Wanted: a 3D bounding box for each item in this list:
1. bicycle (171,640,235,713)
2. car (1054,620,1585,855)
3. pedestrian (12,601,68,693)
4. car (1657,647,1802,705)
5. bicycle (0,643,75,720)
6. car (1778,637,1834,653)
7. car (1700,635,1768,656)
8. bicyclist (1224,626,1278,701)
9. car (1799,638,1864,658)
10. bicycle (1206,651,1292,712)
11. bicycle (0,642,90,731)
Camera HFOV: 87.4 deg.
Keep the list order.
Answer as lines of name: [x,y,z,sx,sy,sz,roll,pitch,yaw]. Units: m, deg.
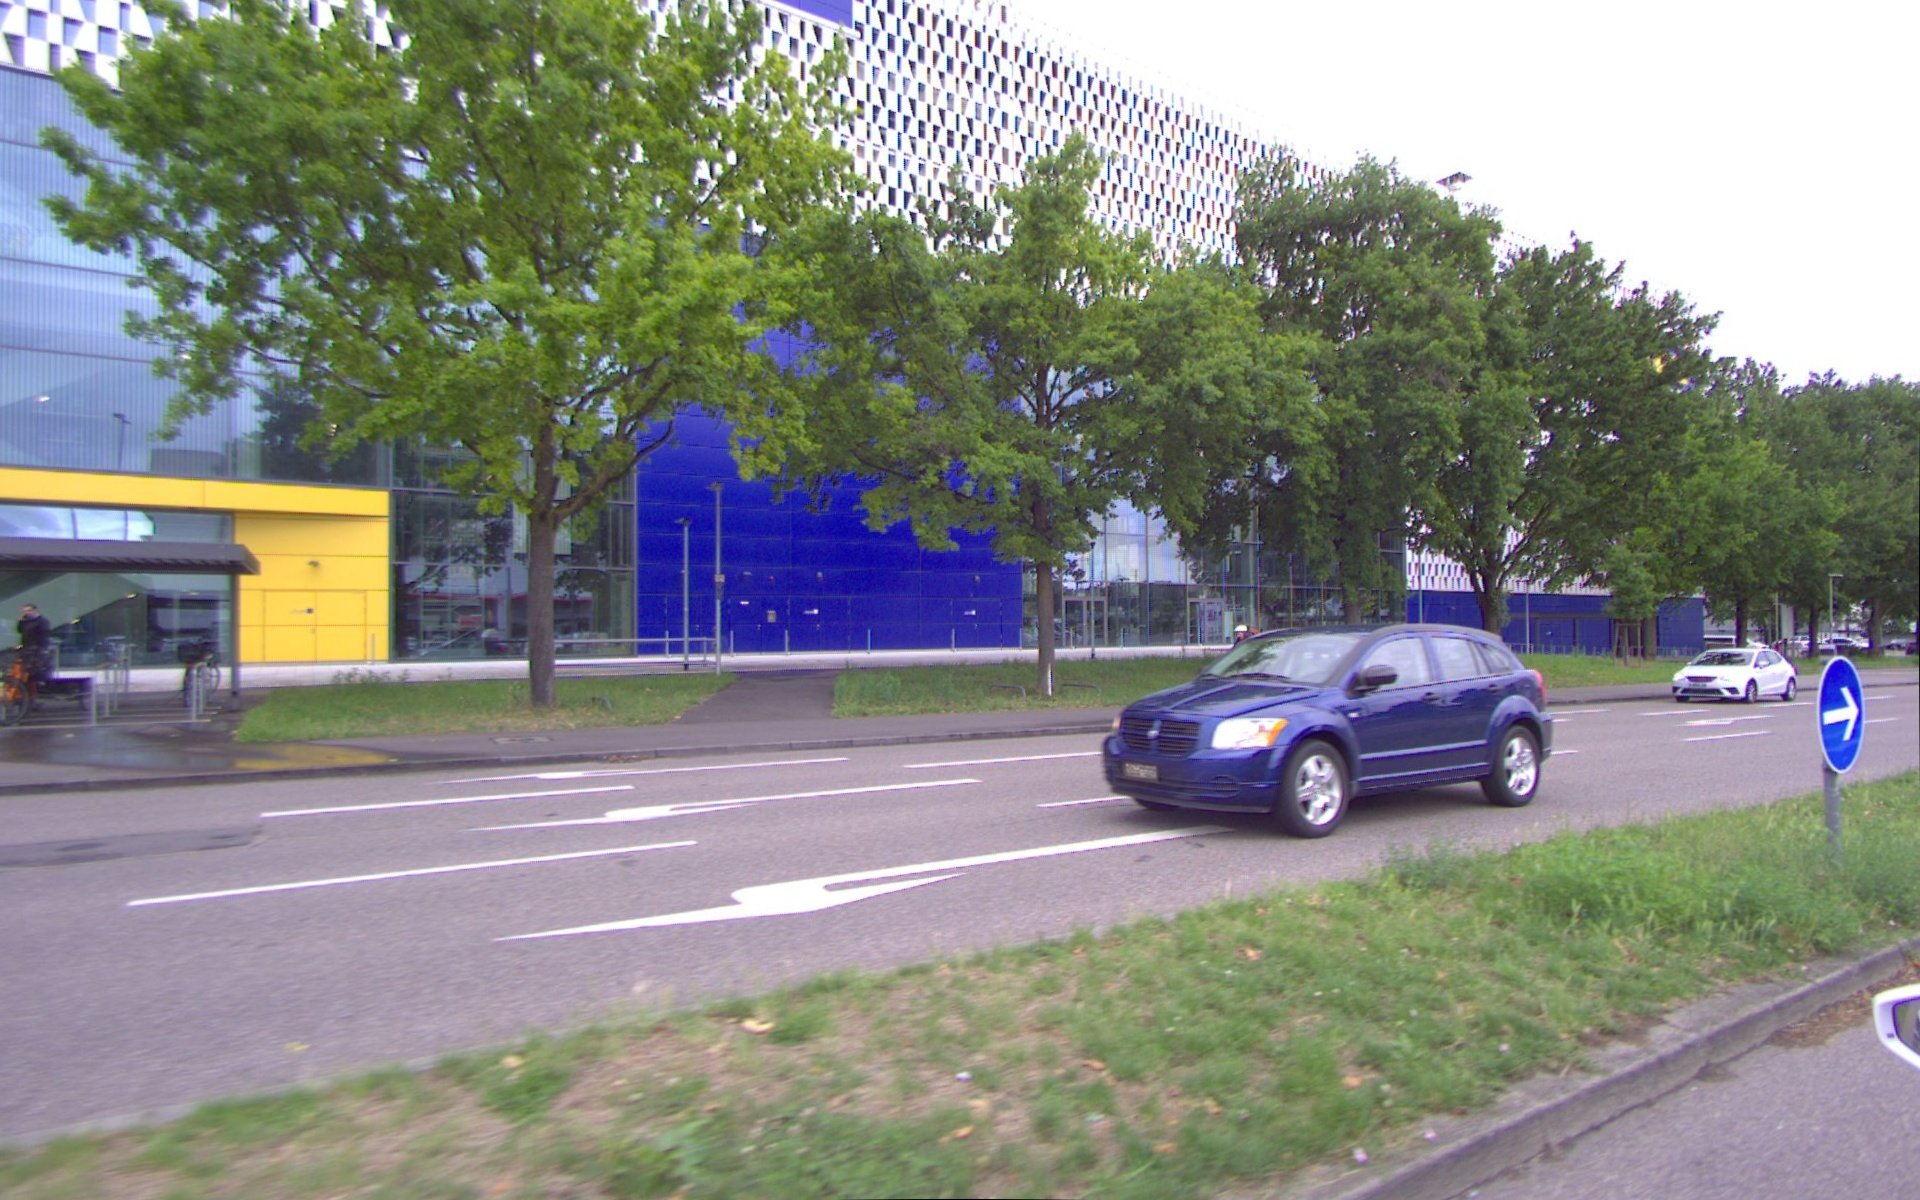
bicycle: [-13.370,1.321,17.778,0.586,1.137,2.007,1,0,-29]
car: [3.118,0.991,8.471,4.391,1.505,1.921,2,-4,-32]
pedestrian: [-18.233,0.922,19.913,0.795,1.769,0.677,0,-1,37]
car: [21.145,2.058,27.582,4.123,1.473,1.856,3,-3,-32]
bicycle: [-15.066,1.295,16.403,0.587,1.096,1.800,1,0,-31]
car: [91.331,4.815,108.476,1.981,1.681,4.385,2,-2,-36]
car: [78.258,4.587,101.685,1.858,1.990,5.107,-2,0,-31]
bicyclist: [6.478,1.397,22.353,0.989,1.598,0.637,1,0,-32]
car: [84.707,4.623,97.637,1.980,1.734,4.404,-3,0,-35]
bicycle: [6.449,1.794,22.356,2.033,1.267,0.639,1,0,-32]
bicycle: [-14.076,1.274,15.199,0.584,1.172,2.015,1,0,-16]
